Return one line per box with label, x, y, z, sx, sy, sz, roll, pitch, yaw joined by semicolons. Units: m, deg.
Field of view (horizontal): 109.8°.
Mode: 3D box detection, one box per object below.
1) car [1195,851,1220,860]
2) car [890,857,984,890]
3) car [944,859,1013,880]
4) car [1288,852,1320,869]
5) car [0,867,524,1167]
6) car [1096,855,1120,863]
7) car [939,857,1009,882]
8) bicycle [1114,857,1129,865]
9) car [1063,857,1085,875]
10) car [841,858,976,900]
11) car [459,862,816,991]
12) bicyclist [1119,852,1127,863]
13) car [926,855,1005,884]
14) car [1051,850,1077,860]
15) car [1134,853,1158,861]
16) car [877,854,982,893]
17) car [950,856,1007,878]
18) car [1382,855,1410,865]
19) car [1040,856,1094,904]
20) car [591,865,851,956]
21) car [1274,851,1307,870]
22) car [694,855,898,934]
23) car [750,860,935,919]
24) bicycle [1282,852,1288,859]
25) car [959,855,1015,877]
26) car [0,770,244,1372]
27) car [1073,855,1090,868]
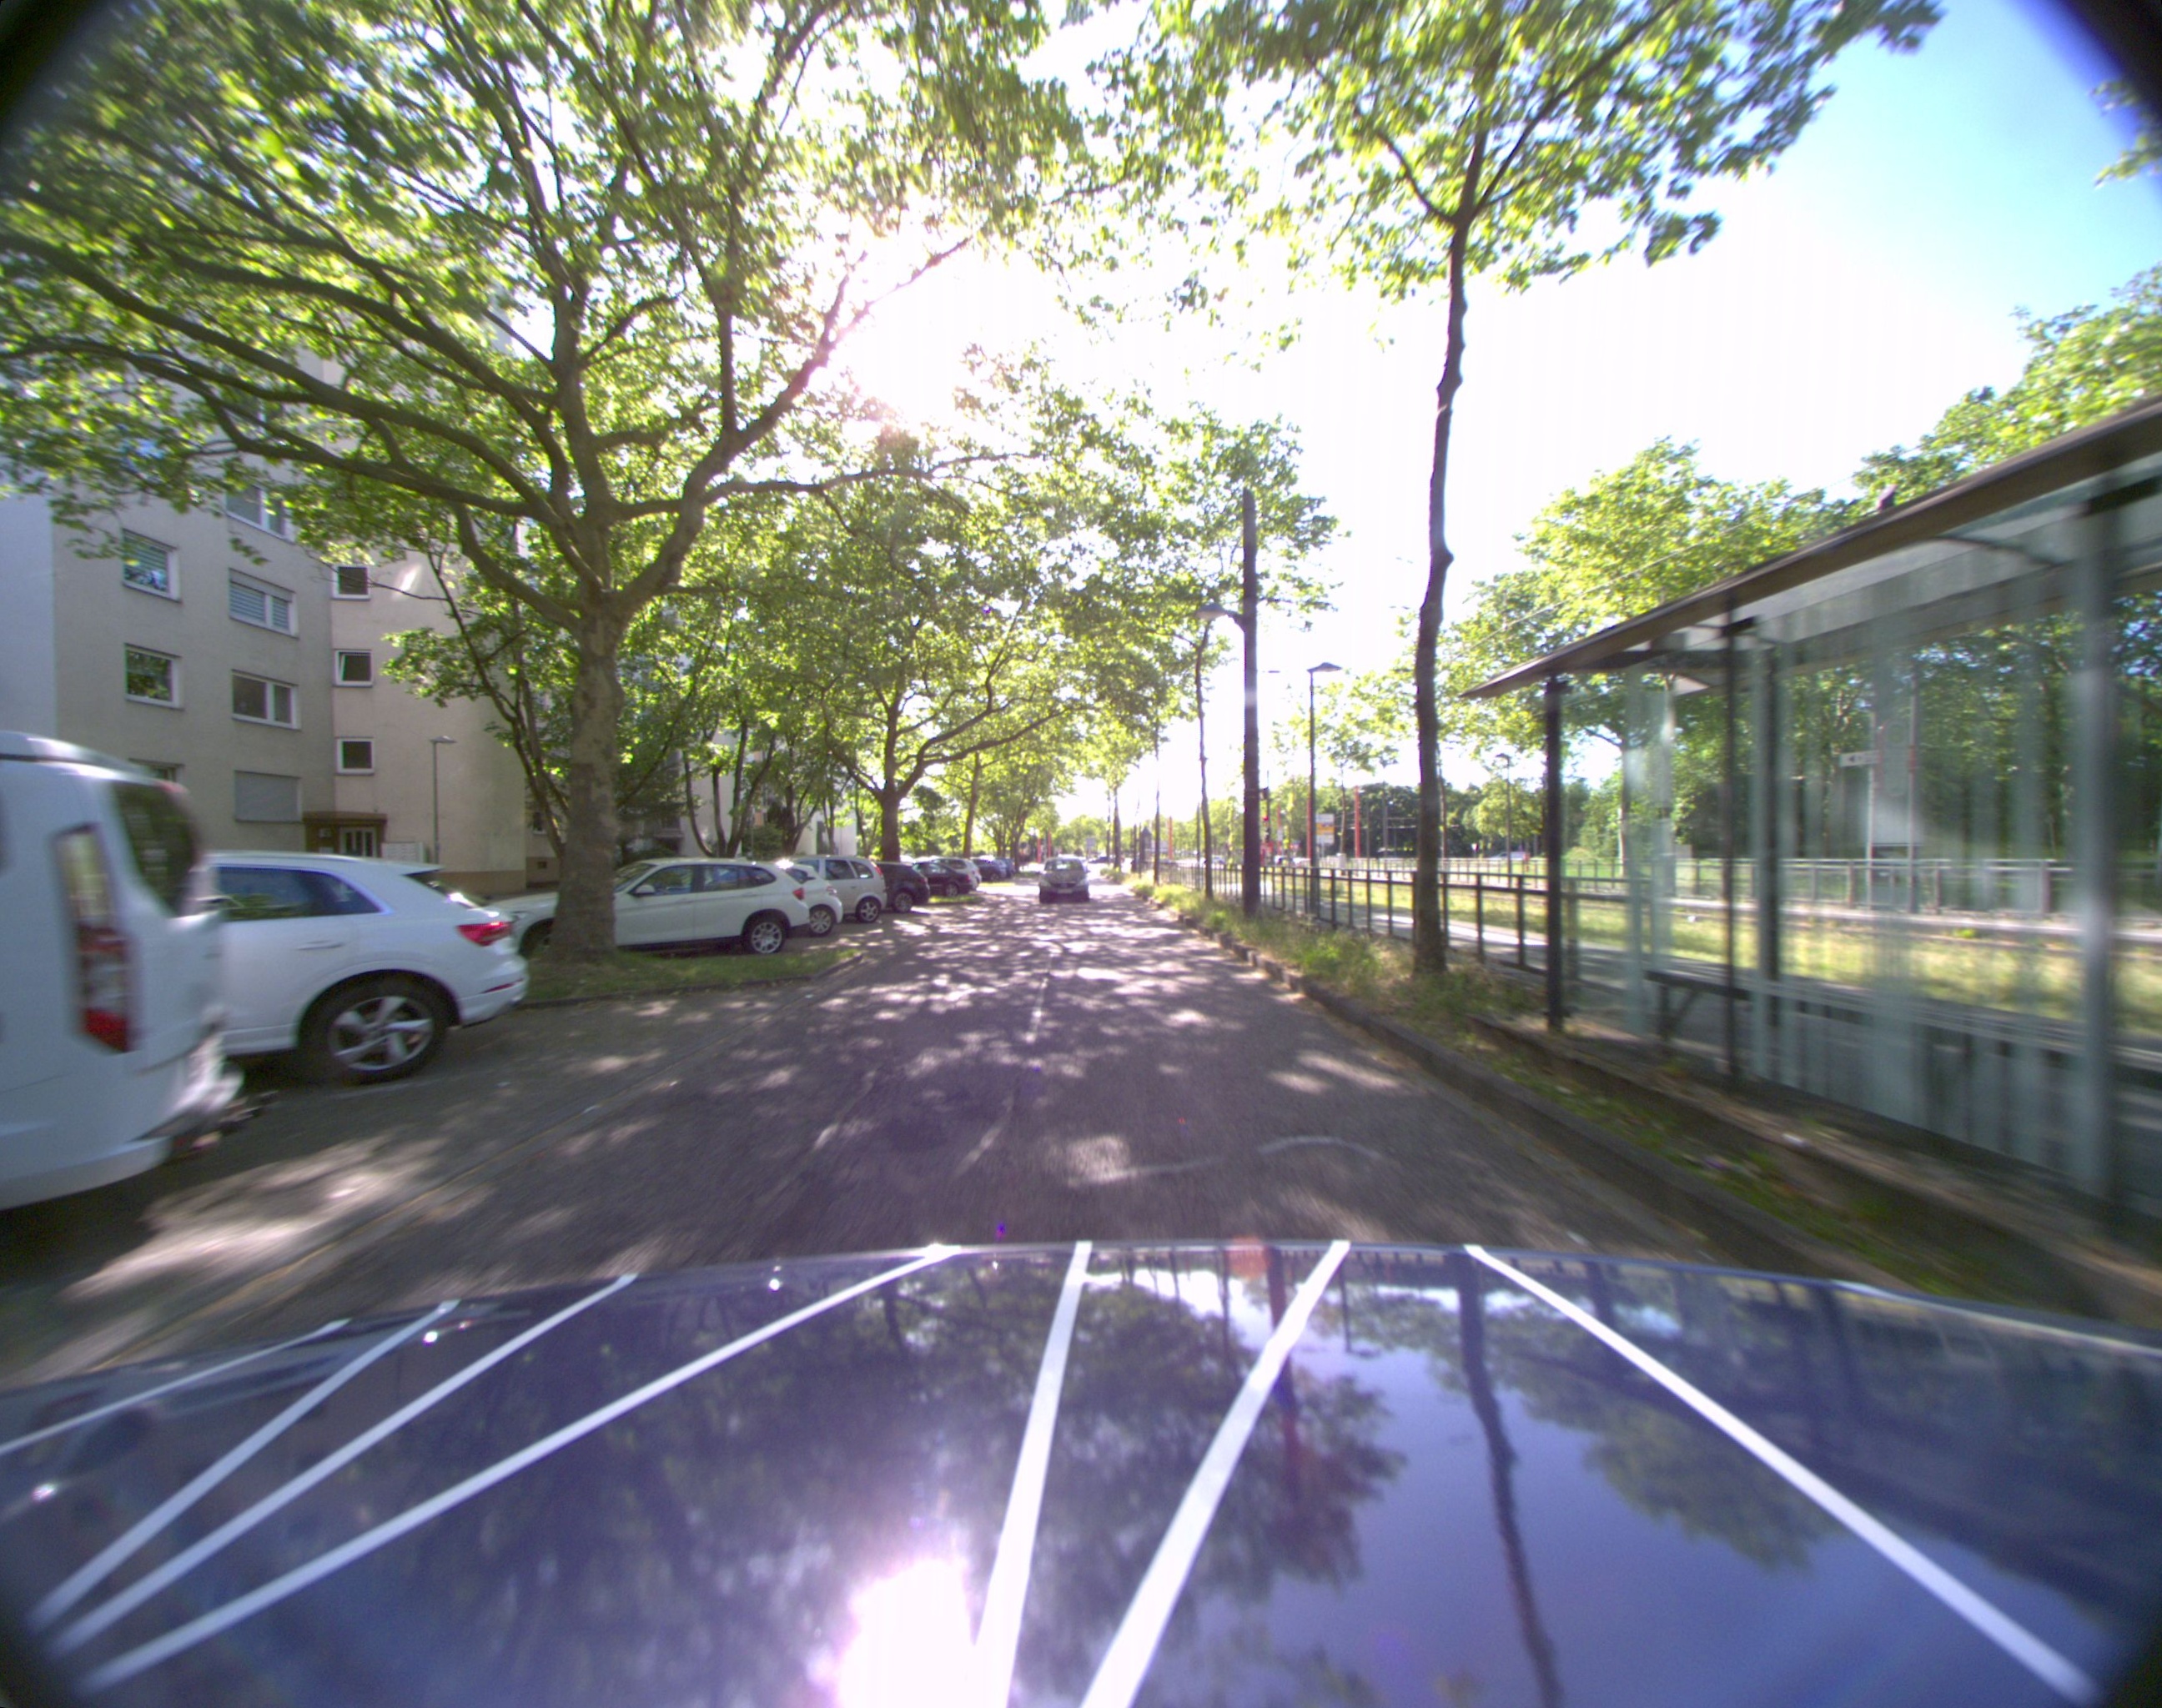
car;21.809;0.206;131.009;3.990;1.501;1.803;0;0;26
car;-6.807;0.900;36.141;4.009;1.435;1.795;1;0;-42
car;-6.646;0.983;49.645;4.156;1.310;1.795;1;0;-41
car;21.042;0.606;71.933;1.799;1.501;4.267;0;0;0
car;-6.274;0.898;4.942;4.067;1.571;1.827;1;0;-43
car;5.013;0.950;138.861;3.990;1.501;1.803;0;0;26
car;-6.463;0.910;46.268;3.897;1.437;1.795;1;0;-44
bicycle;5.586;0.974;104.569;1.896;1.101;0.704;-1;1;23
car;-0.598;0.996;66.436;1.799;1.529;3.999;0;0;-2
car;-6.251;0.876;27.920;1.795;1.414;4.600;1;0;44
car;-6.365;0.915;11.294;1.794;1.501;4.222;2;0;42
bicyclist;5.759;0.518;104.485;0.955;1.469;0.704;-1;1;23
car;-6.465;0.847;42.761;1.795;1.501;4.187;1;0;43
car;-3.255;0.257;146.012;4.545;1.825;1.803;0;0;26
car;11.947;0.544;140.060;3.990;1.501;1.803;0;0;26
car;-6.416;0.819;32.441;4.009;1.566;1.795;1;0;-41
car;-7.107;0.904;52.839;3.592;1.483;1.795;1;0;-42
car;49.332;0.952;118.883;3.990;1.501;1.803;0;0;26
car;-0.490;0.874;27.674;1.799;1.580;3.763;-1;0;-1
car;-6.643;0.949;14.291;1.826;1.411;4.009;2;0;44
car;18.569;0.586;67.522;1.799;1.598;4.267;0;0;0
car;-6.479;0.857;17.524;4.009;1.580;1.794;1;0;-43
car;-6.482;0.933;20.924;4.418;1.420;1.946;1;0;-40
bicycle;31.944;0.190;118.810;0.500;1.101;1.800;0;0;2
car;-6.916;0.868;55.933;3.734;1.583;1.795;1;0;-41
car;-5.829;0.685;2.026;4.600;2.040;2.011;1;0;-40
car;0.052;0.856;89.876;1.788;1.501;4.627;-1;0;2
